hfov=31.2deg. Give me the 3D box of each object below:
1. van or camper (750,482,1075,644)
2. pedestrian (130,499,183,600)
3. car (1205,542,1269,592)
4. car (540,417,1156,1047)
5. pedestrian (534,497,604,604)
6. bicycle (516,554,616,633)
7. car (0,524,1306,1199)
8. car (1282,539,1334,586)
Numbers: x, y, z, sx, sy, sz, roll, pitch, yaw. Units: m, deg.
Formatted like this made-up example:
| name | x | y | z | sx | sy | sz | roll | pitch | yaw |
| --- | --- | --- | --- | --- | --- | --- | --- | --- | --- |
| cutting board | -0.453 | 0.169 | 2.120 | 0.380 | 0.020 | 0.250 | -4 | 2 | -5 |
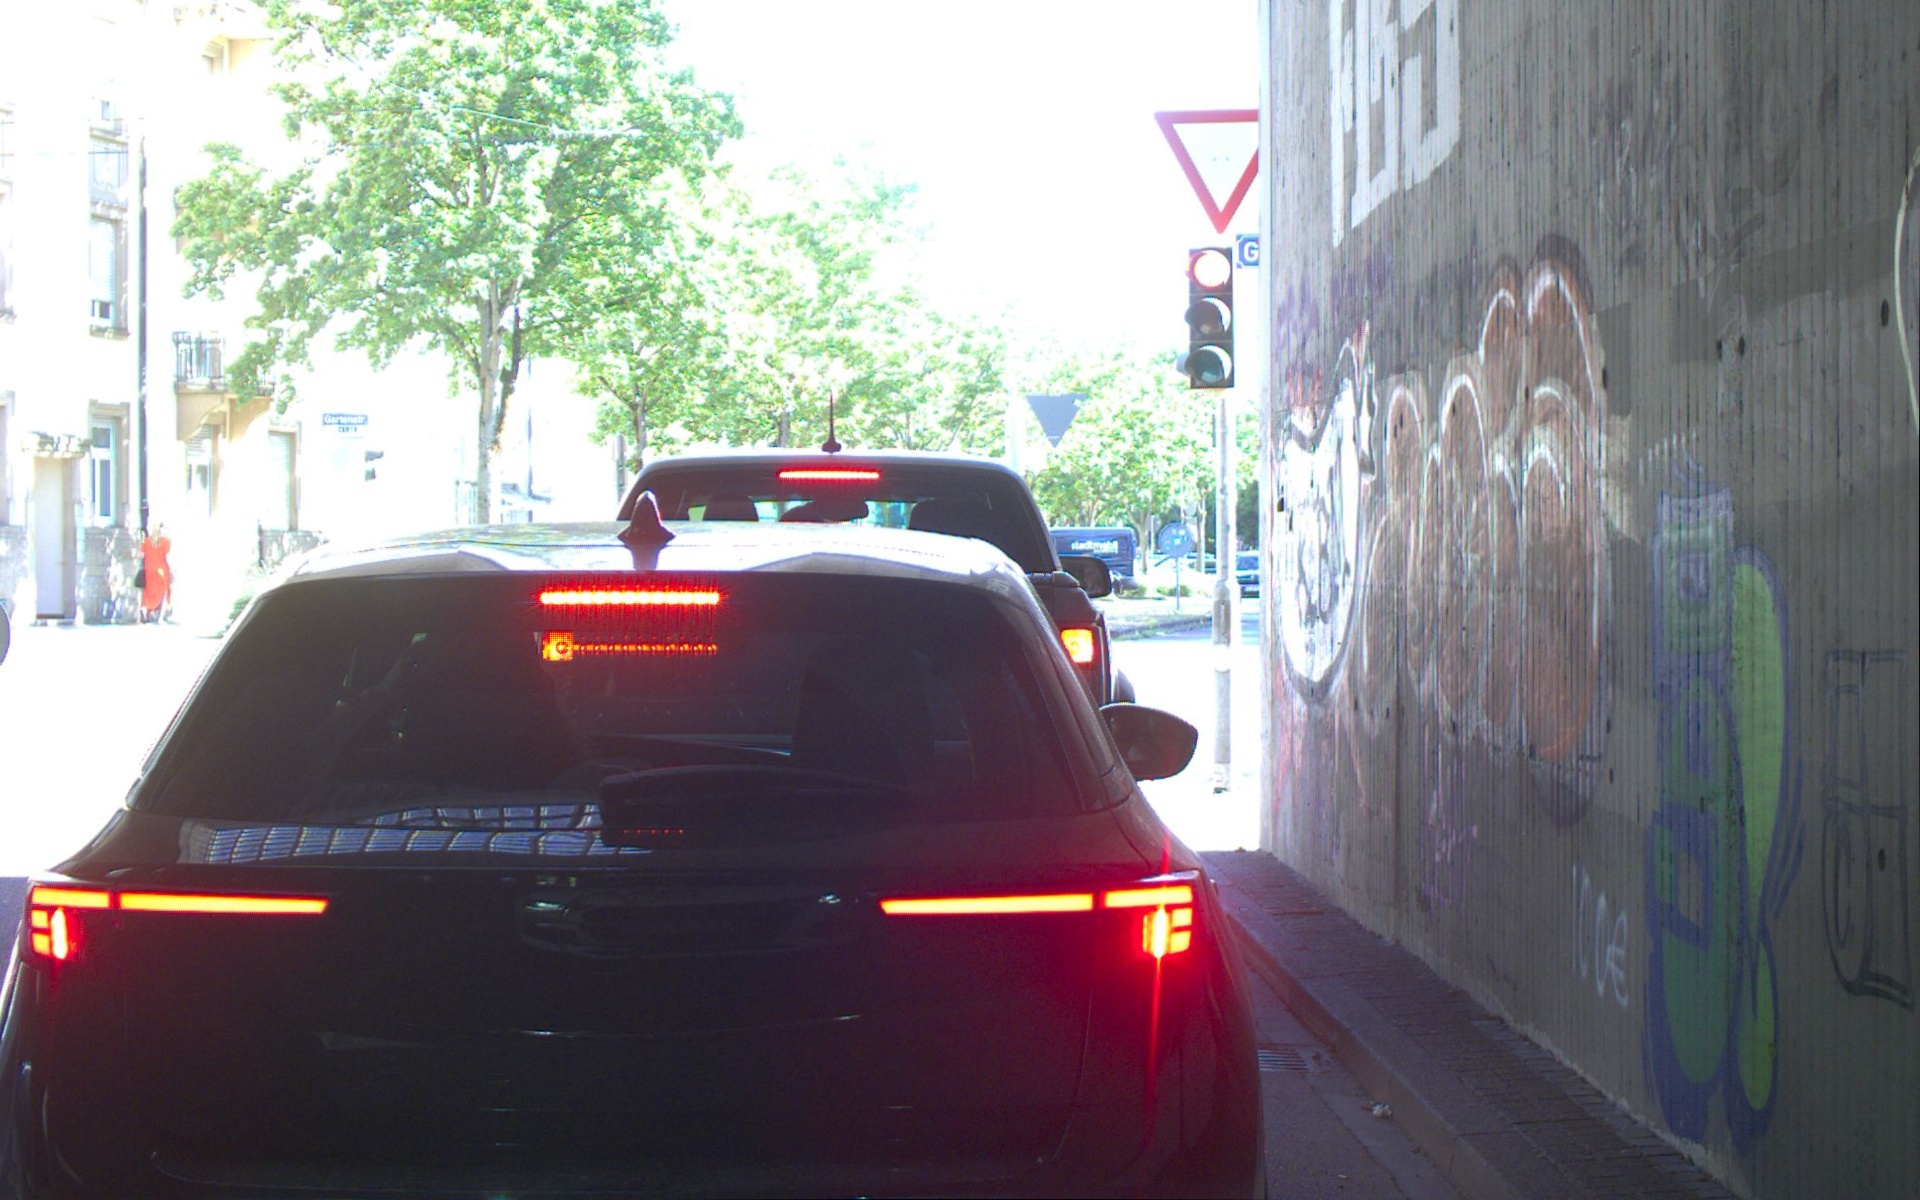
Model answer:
| name | x | y | z | sx | sy | sz | roll | pitch | yaw |
| --- | --- | --- | --- | --- | --- | --- | --- | --- | --- |
| van or camper | -0.563 | -0.472 | 43.646 | 3.878 | 2.007 | 2.000 | 0 | 1 | 7 |
| pedestrian | -13.650 | -0.860 | 58.407 | 0.623 | 1.699 | 0.723 | 1 | 0 | 11 |
| car | 8.400 | -1.013 | 103.995 | 1.599 | 1.447 | 3.794 | 0 | 1 | 10 |
| car | -0.346 | 0.350 | 12.051 | 1.786 | 1.827 | 3.961 | 1 | 1 | 0 |
| pedestrian | -5.843 | -0.741 | 51.404 | 0.736 | 1.579 | 0.889 | 1 | 0 | 15 |
| bicycle | -5.868 | -0.108 | 51.329 | 0.737 | 1.126 | 2.025 | 0 | 1 | 17 |
| car | -0.481 | 0.628 | 6.154 | 1.753 | 1.493 | 4.000 | 1 | 1 | 0 |
| car | 12.328 | -1.327 | 121.559 | 1.584 | 1.634 | 3.804 | 0 | 1 | 10 |
